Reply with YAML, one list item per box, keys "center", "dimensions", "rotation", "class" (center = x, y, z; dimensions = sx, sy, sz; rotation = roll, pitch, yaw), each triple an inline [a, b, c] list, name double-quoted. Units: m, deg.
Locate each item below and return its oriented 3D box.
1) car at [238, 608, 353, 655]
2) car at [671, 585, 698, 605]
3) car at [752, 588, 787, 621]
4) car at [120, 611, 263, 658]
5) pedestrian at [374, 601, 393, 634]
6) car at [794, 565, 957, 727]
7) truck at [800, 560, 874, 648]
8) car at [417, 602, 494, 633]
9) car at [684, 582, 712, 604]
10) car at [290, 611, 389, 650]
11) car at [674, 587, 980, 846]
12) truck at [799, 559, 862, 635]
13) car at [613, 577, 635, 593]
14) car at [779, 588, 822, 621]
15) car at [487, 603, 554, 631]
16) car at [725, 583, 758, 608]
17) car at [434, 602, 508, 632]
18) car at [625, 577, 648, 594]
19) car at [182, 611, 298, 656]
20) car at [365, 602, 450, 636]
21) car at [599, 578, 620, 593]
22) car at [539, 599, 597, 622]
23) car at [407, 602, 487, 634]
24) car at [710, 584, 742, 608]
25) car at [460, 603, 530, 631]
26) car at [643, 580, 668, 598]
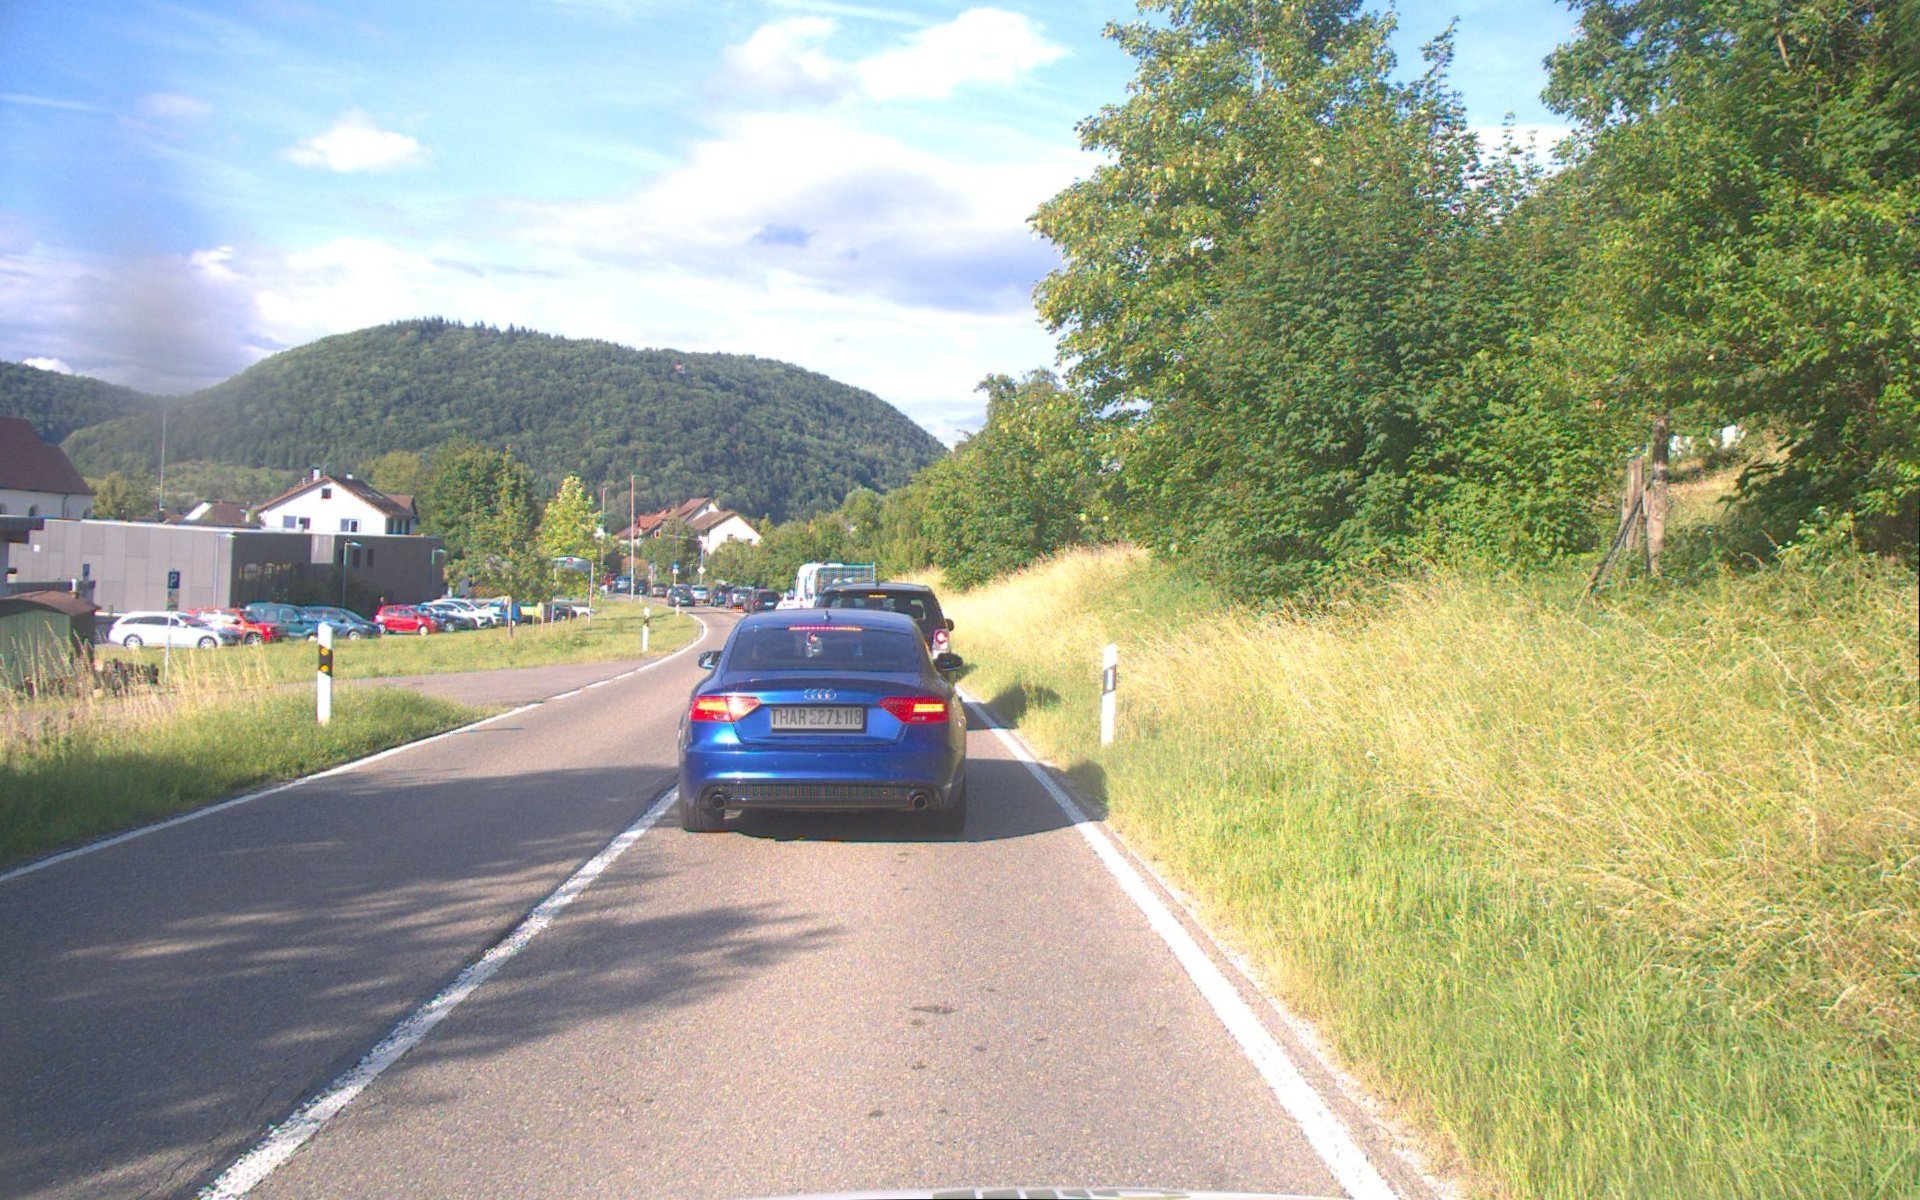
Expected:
- center: [-29.581, 1.394, 73.736]
  dimensions: [4.320, 2.043, 1.998]
  rotation: [1, 0, -5]
  class: "car"
- center: [-20.508, -0.344, 122.837]
  dimensions: [1.675, 1.455, 4.036]
  rotation: [1, 0, -14]
  class: "car"
- center: [-10.500, 0.230, 90.897]
  dimensions: [1.811, 1.742, 3.993]
  rotation: [1, 0, -8]
  class: "car"
- center: [-30.074, 1.346, 64.855]
  dimensions: [4.638, 1.741, 1.998]
  rotation: [1, 0, -5]
  class: "car"
- center: [-35.632, 1.064, 102.256]
  dimensions: [0.808, 2.049, 0.972]
  rotation: [1, -1, -3]
  class: "pedestrian"
- center: [-0.950, 0.499, 19.645]
  dimensions: [1.719, 1.710, 3.845]
  rotation: [1, 0, -2]
  class: "car"
- center: [-3.869, 0.147, 52.832]
  dimensions: [2.185, 2.615, 6.099]
  rotation: [1, 0, -3]
  class: "truck"
- center: [-29.545, 1.028, 96.907]
  dimensions: [3.909, 1.741, 1.998]
  rotation: [1, 0, -5]
  class: "car"
- center: [-21.686, -0.562, 136.849]
  dimensions: [1.815, 1.742, 3.984]
  rotation: [1, 0, -15]
  class: "car"
- center: [-29.214, 1.418, 77.942]
  dimensions: [3.909, 1.741, 1.998]
  rotation: [1, 0, -5]
  class: "car"
- center: [-0.804, 0.673, 11.343]
  dimensions: [1.719, 1.455, 3.845]
  rotation: [1, 0, -2]
  class: "car"
- center: [-4.836, -0.100, 61.162]
  dimensions: [2.186, 2.615, 6.700]
  rotation: [1, 0, -5]
  class: "truck"
- center: [-37.738, -1.723, 185.771]
  dimensions: [1.818, 1.742, 3.976]
  rotation: [1, 0, -20]
  class: "car"
- center: [-7.546, 0.217, 78.020]
  dimensions: [1.811, 1.508, 3.993]
  rotation: [1, 0, -8]
  class: "car"
- center: [-28.830, 1.091, 108.602]
  dimensions: [3.909, 1.741, 1.998]
  rotation: [1, 0, -5]
  class: "car"
- center: [-15.354, -0.313, 116.195]
  dimensions: [1.815, 1.742, 3.985]
  rotation: [1, 0, -14]
  class: "car"
- center: [-29.584, 1.042, 100.191]
  dimensions: [3.909, 1.741, 1.998]
  rotation: [1, 0, -5]
  class: "car"
- center: [-34.583, -1.517, 176.733]
  dimensions: [1.818, 1.742, 3.976]
  rotation: [1, 0, -20]
  class: "car"
- center: [-29.582, 1.368, 68.074]
  dimensions: [3.909, 1.741, 1.998]
  rotation: [1, 0, -5]
  class: "car"
- center: [-29.612, 0.990, 88.668]
  dimensions: [3.909, 1.741, 1.998]
  rotation: [1, 0, -5]
  class: "car"
- center: [-41.445, -1.735, 195.630]
  dimensions: [1.818, 1.742, 3.976]
  rotation: [1, 0, -20]
  class: "car"
- center: [-29.140, 0.782, 123.043]
  dimensions: [3.909, 1.606, 1.751]
  rotation: [1, 0, -5]
  class: "car"
- center: [-28.922, 1.021, 93.276]
  dimensions: [3.909, 1.741, 1.998]
  rotation: [1, 0, -5]
  class: "car"
- center: [-17.507, -0.310, 123.651]
  dimensions: [1.815, 1.742, 3.984]
  rotation: [1, 0, -15]
  class: "car"
- center: [-29.772, 1.065, 105.973]
  dimensions: [3.909, 1.741, 1.998]
  rotation: [1, 0, -5]
  class: "car"
- center: [-30.012, -1.081, 162.927]
  dimensions: [1.818, 1.742, 3.976]
  rotation: [1, 0, -20]
  class: "car"
